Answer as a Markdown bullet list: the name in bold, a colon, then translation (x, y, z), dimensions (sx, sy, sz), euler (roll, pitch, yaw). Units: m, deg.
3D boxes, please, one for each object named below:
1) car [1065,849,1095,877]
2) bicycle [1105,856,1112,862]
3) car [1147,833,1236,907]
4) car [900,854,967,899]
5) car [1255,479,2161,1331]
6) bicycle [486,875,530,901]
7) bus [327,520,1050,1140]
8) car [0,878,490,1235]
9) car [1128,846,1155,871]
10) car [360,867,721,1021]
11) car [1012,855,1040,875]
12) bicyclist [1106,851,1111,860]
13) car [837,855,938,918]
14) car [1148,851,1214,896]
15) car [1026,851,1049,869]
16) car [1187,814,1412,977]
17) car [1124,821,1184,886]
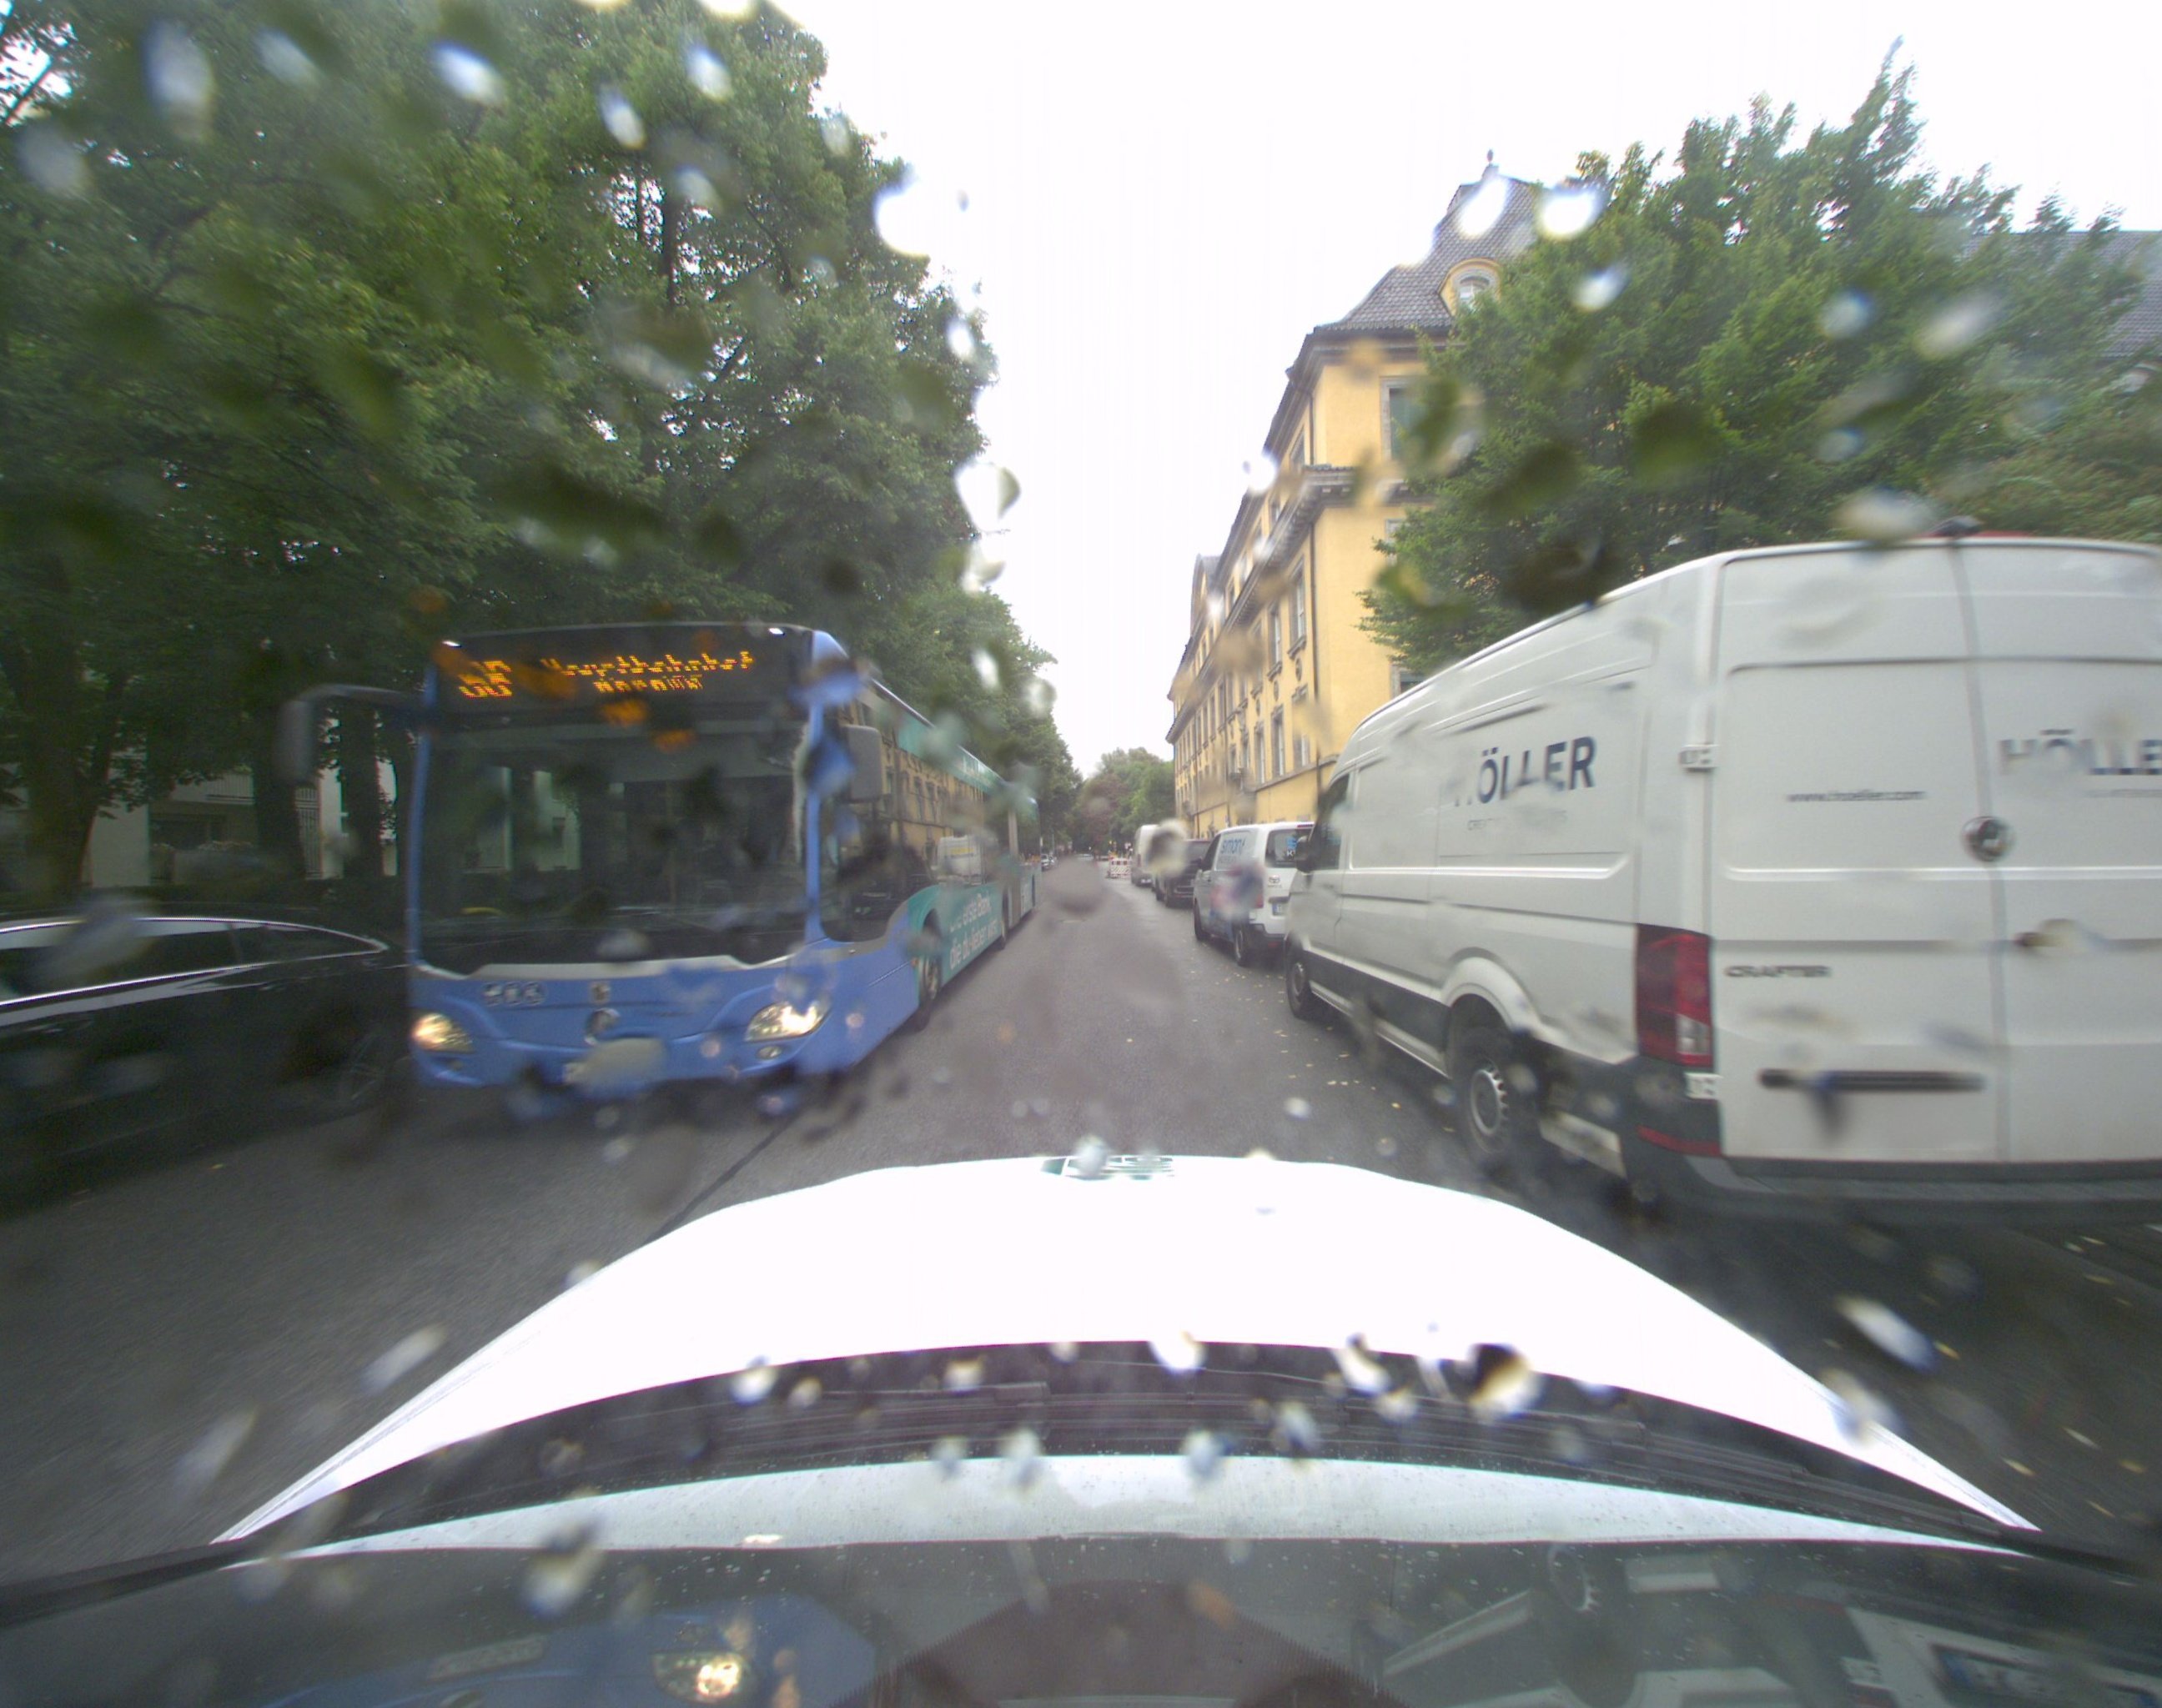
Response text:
- **car**: translation (-0.047, 0.520, 48.650), dimensions (1.571, 1.584, 4.046), euler (-2, 0, 2)
- **bicycle**: translation (4.480, 0.823, 132.277), dimensions (0.679, 0.830, 2.104), euler (-2, -1, -7)
- **car**: translation (3.071, 0.438, 23.628), dimensions (1.865, 1.869, 4.985), euler (-2, 0, 0)
- **car**: translation (-5.340, 0.789, 29.907), dimensions (1.667, 1.469, 4.103), euler (-2, 0, 0)
- **car**: translation (2.816, 0.170, 5.298), dimensions (2.088, 2.488, 5.739), euler (-2, -1, 0)
- **bicycle**: translation (-25.315, 1.501, 36.018), dimensions (0.639, 1.037, 1.901), euler (-1, 0, -3)
- **bus**: translation (-2.469, 0.002, 13.569), dimensions (2.850, 3.239, 18.425), euler (-2, -1, 1)
- **car**: translation (-5.587, 0.965, 3.983), dimensions (1.782, 1.438, 4.557), euler (-2, 1, 4)
- **car**: translation (4.611, 0.374, 62.738), dimensions (1.734, 1.750, 4.356), euler (-2, -1, 1)
- **car**: translation (-6.243, 0.923, 10.062), dimensions (1.784, 1.454, 3.948), euler (-2, -1, 0)
- **car**: translation (-4.195, 0.827, 62.534), dimensions (1.721, 1.422, 4.252), euler (-2, 0, 1)
- **bicyclist**: translation (4.479, 0.236, 132.215), dimensions (0.680, 1.504, 0.899), euler (-2, 0, -7)
- **car**: translation (-5.449, 0.867, 23.484), dimensions (1.778, 1.597, 4.583), euler (-2, 0, 0)
- **car**: translation (3.587, 0.685, 29.877), dimensions (1.865, 1.458, 4.254), euler (-2, 0, 0)
- **car**: translation (-4.115, 0.521, 77.409), dimensions (1.808, 1.601, 4.515), euler (-2, 0, 2)
- **car**: translation (2.918, 0.492, 12.201), dimensions (2.007, 1.906, 5.163), euler (0, 0, 0)
- **car**: translation (3.271, 0.014, 38.005), dimensions (2.048, 2.673, 7.612), euler (-2, 0, 0)
